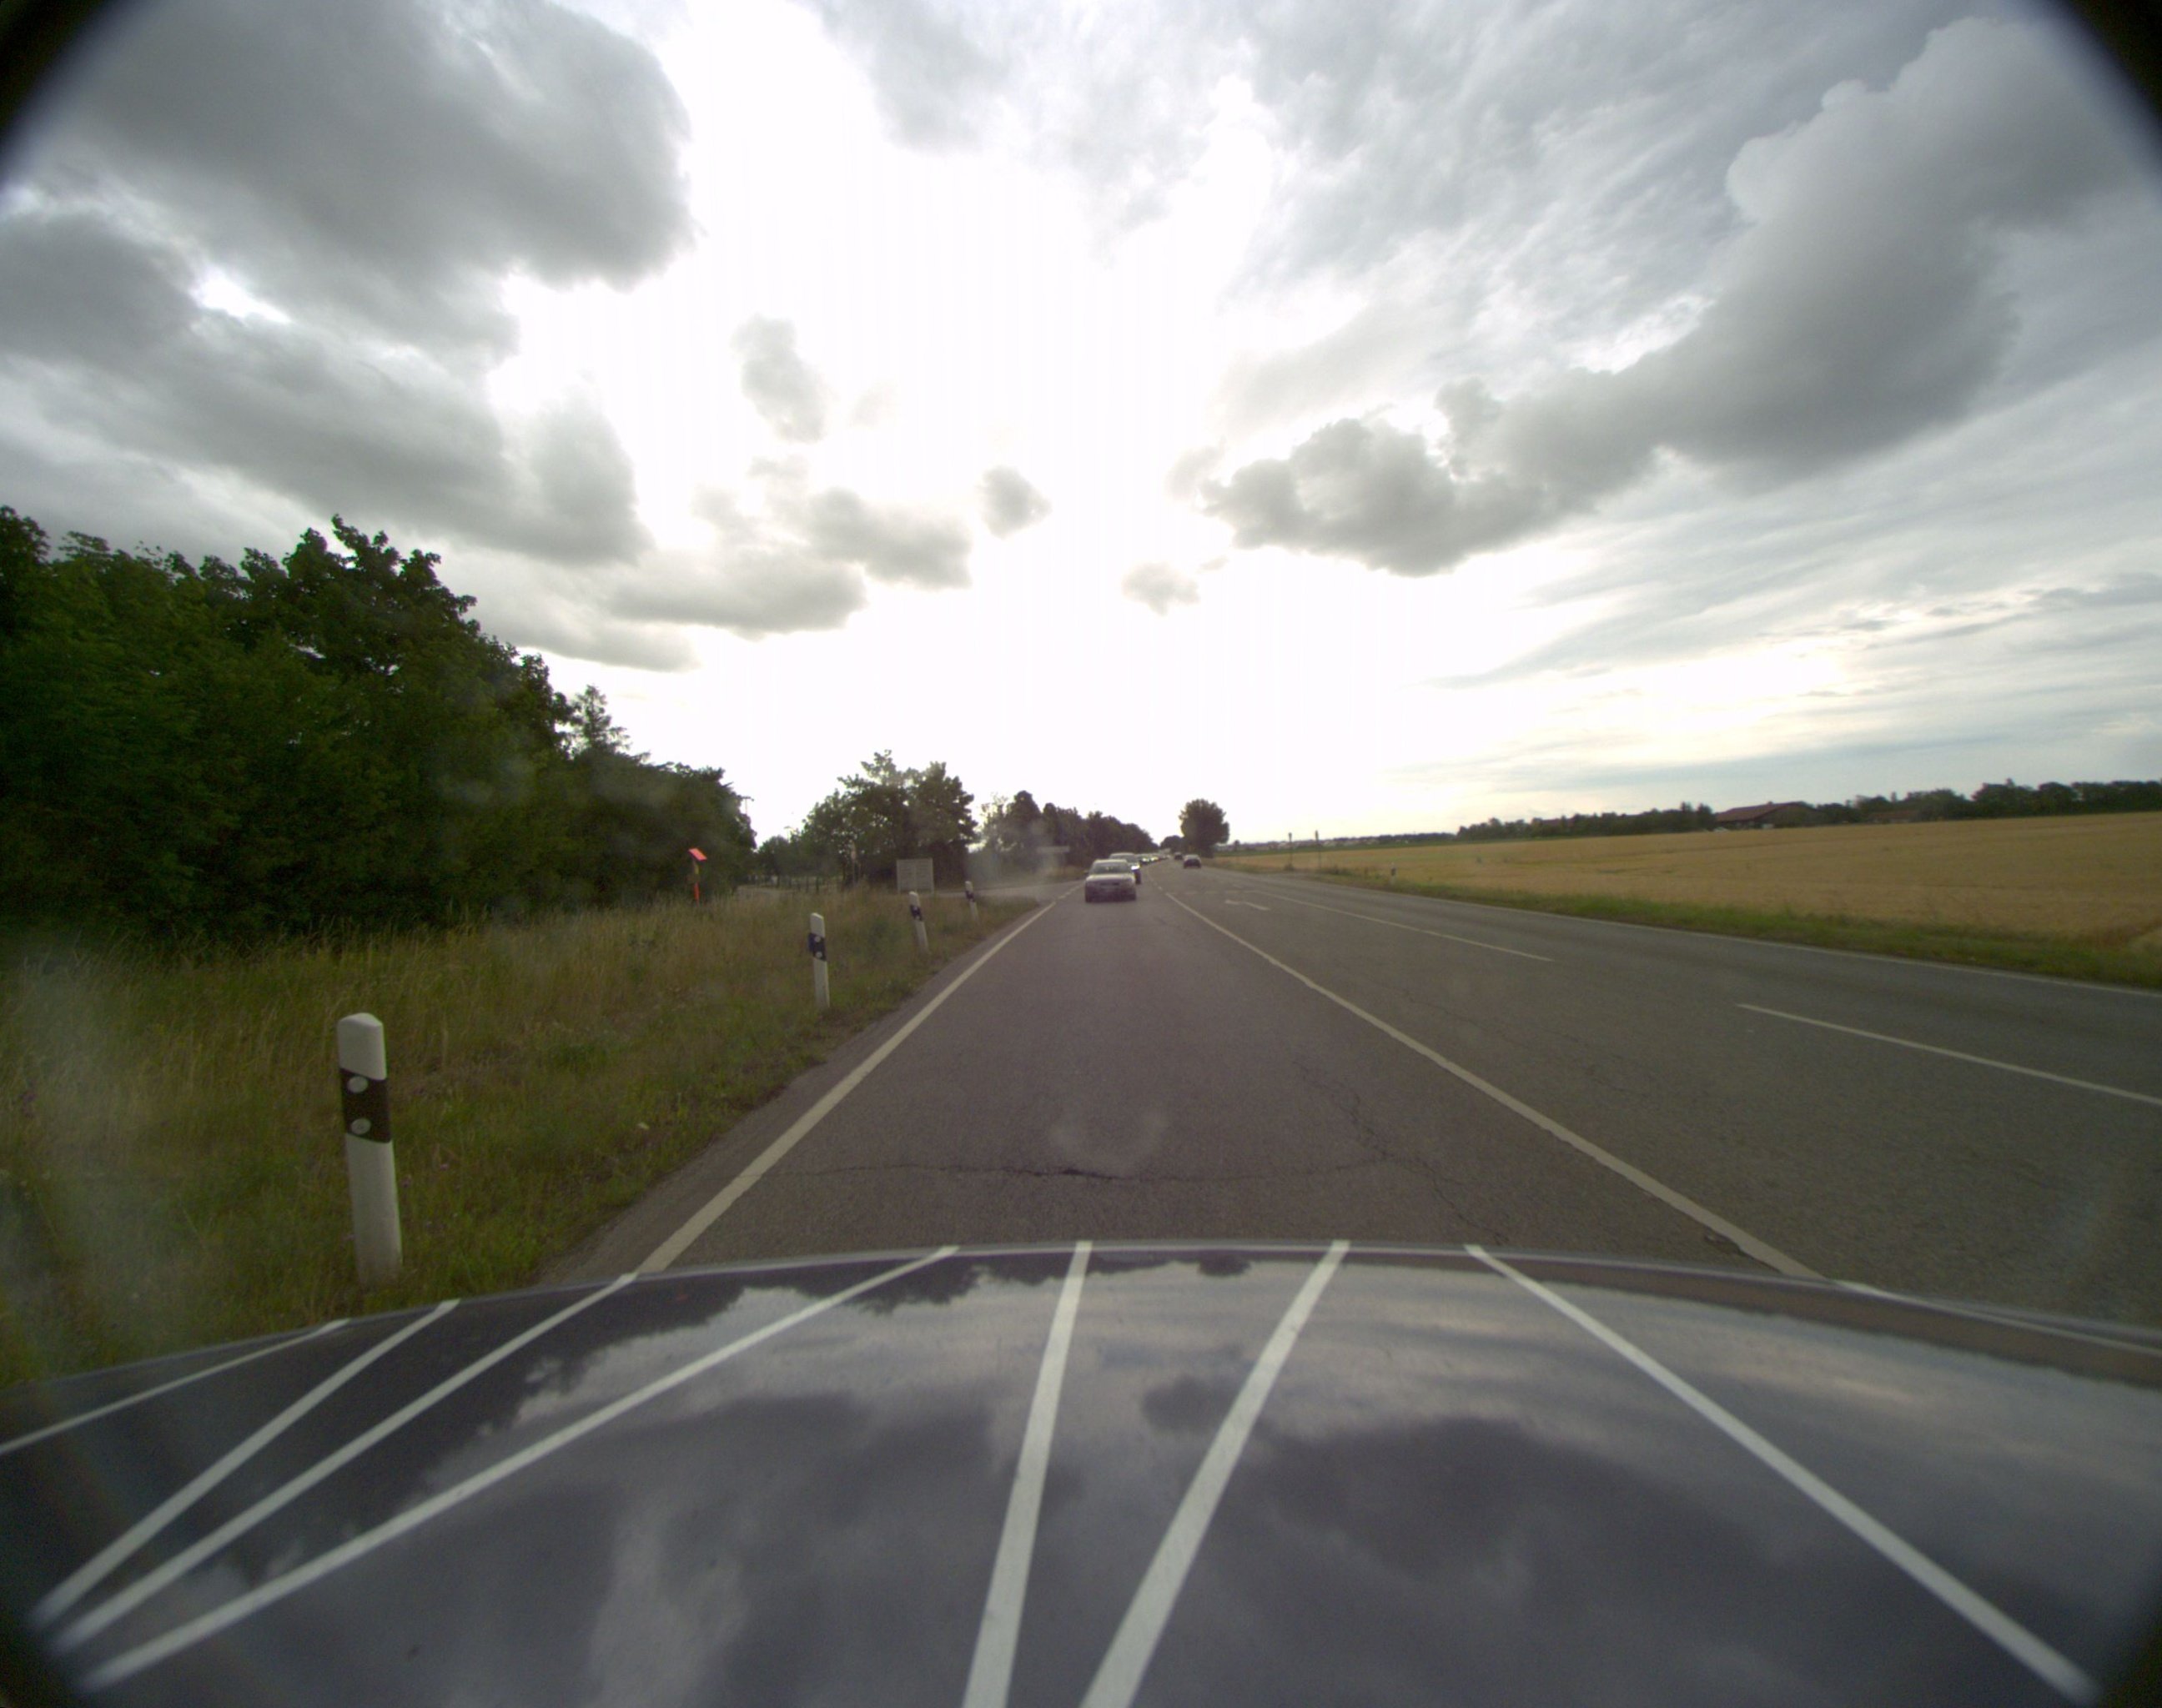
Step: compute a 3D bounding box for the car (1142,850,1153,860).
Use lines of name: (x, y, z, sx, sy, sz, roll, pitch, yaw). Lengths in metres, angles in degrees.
car: (11.181, 0.210, 127.339, 1.793, 1.573, 4.189, -2, 0, 6)

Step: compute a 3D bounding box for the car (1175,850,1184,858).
car: (22.169, -0.043, 170.601, 1.951, 1.684, 4.448, -2, 1, 7)

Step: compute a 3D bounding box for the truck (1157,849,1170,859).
truck: (23.549, -0.038, 216.585, 2.321, 2.749, 7.669, -3, 0, -4)

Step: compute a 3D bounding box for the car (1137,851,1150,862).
car: (9.264, 0.371, 112.122, 1.793, 1.573, 4.189, -2, 0, 6)

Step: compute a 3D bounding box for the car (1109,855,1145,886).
car: (2.493, 0.883, 42.160, 1.794, 1.573, 4.367, -2, 0, 1)

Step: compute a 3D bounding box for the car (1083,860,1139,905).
car: (1.156, 0.971, 27.466, 1.793, 1.415, 4.369, -2, 0, 5)

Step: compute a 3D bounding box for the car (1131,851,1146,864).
car: (7.465, 0.444, 99.030, 1.793, 1.573, 4.369, -2, 0, 6)

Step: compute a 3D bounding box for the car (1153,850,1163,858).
car: (15.912, -0.082, 156.997, 1.792, 1.573, 4.140, -2, 0, 10)

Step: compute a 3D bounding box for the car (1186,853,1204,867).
car: (12.334, 0.678, 82.247, 1.830, 1.402, 4.426, -2, 0, 7)

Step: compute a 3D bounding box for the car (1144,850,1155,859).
car: (13.164, 0.085, 146.293, 1.793, 1.573, 4.139, -2, 0, 8)
